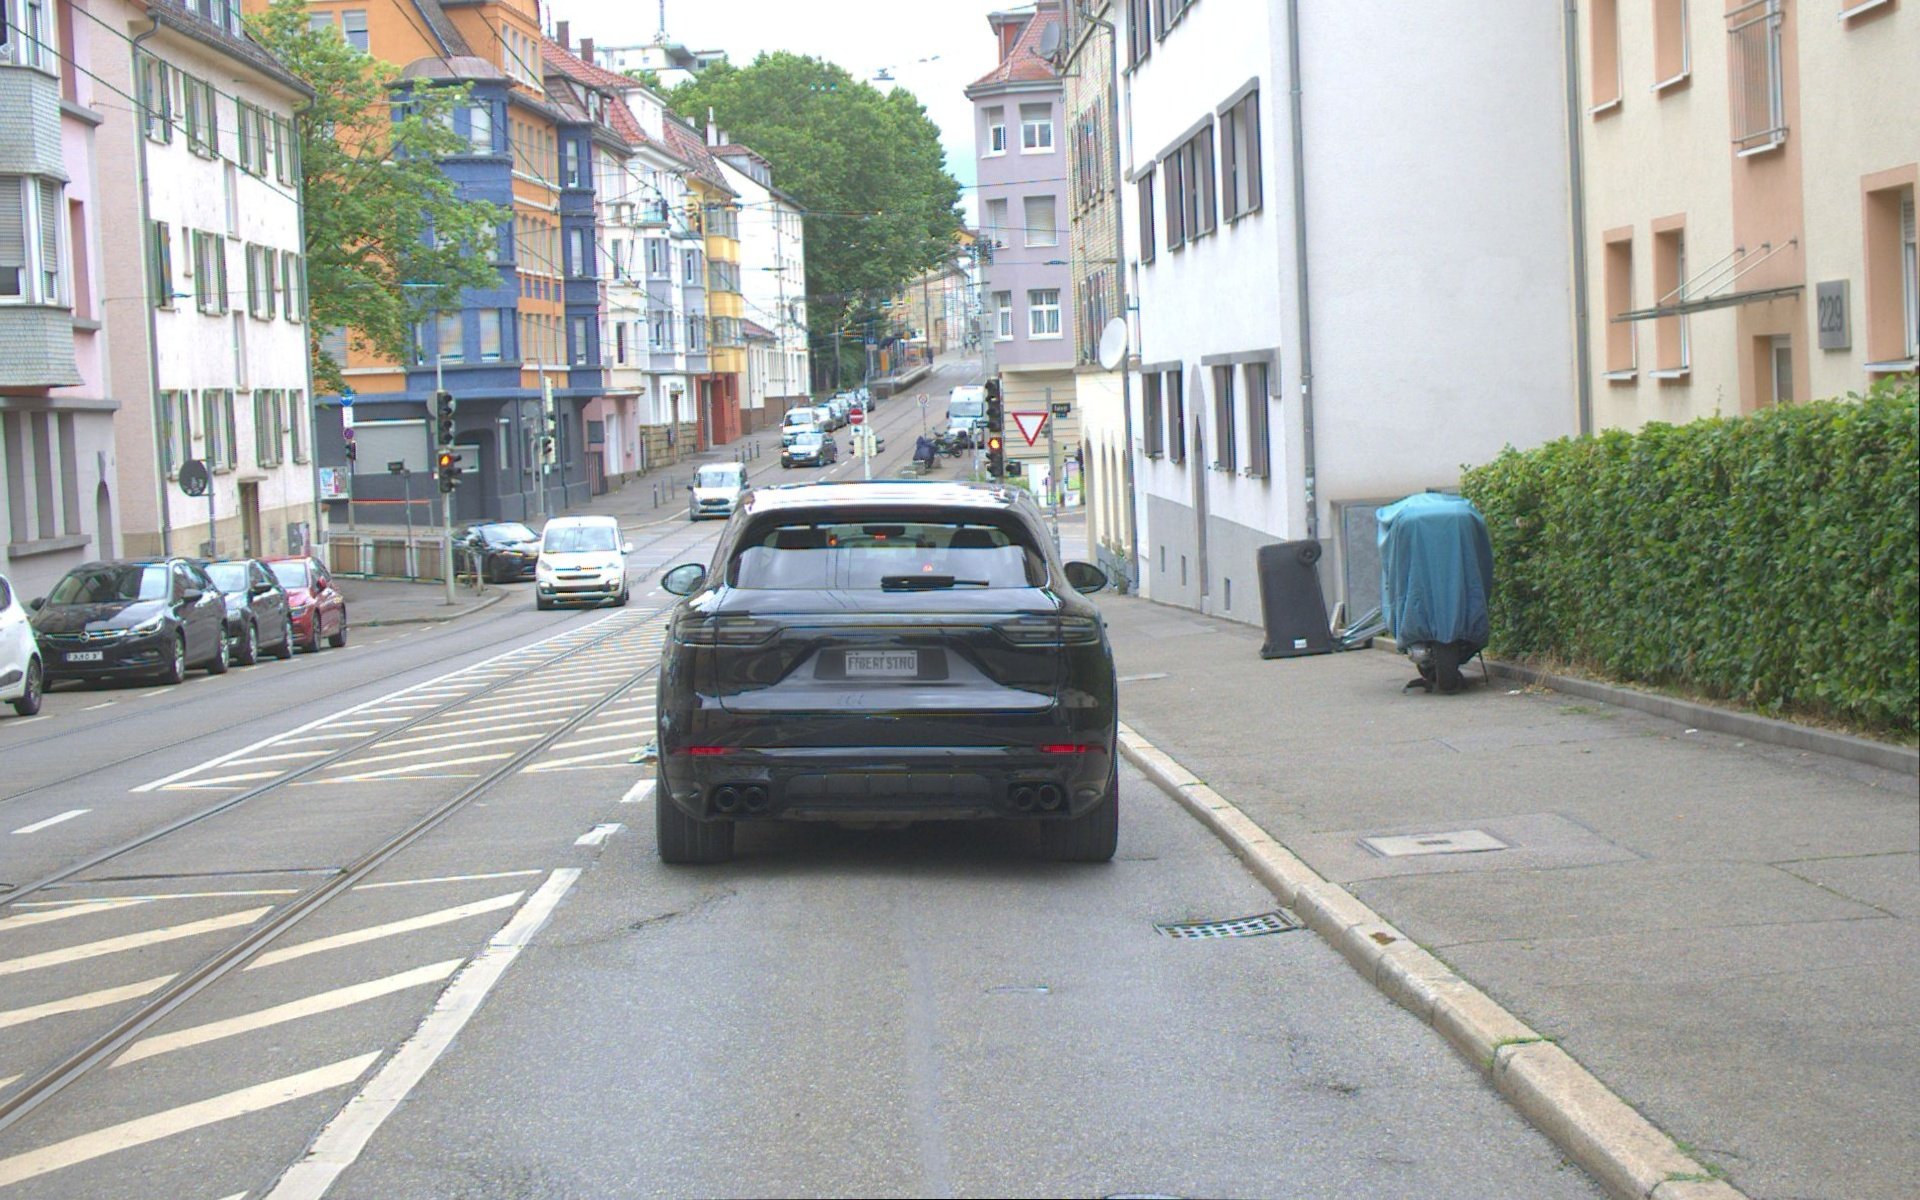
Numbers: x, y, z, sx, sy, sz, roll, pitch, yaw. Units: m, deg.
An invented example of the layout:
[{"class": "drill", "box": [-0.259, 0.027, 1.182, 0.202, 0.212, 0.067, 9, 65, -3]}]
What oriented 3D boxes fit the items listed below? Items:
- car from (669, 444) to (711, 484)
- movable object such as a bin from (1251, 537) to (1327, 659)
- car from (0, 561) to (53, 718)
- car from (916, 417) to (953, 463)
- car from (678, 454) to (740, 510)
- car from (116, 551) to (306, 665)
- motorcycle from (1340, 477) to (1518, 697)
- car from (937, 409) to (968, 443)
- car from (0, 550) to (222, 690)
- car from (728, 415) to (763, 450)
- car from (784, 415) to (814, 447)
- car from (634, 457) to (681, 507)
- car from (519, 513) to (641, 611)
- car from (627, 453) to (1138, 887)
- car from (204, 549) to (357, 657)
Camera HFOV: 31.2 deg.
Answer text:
[{"class": "car", "box": [-10.866, -5.468, 138.400, 1.394, 1.445, 3.359, -2, 1, -1]}, {"class": "movable object such as a bin", "box": [2.991, -0.025, 31.291, 0.588, 1.076, 0.692, -2, 1, 1]}, {"class": "car", "box": [-9.751, 0.406, 32.003, 1.620, 1.458, 3.685, -3, 0, -1]}, {"class": "car", "box": [-1.031, -6.439, 138.852, 1.394, 1.716, 3.359, -2, 1, -1]}, {"class": "car", "box": [-8.499, -3.974, 116.560, 1.751, 1.753, 4.254, -2, 1, -1]}, {"class": "car", "box": [-10.138, 0.071, 46.796, 1.736, 1.405, 4.000, -2, 1, -1]}, {"class": "motorcycle", "box": [3.303, -0.108, 24.457, 0.838, 1.451, 2.553, -2, 1, 0]}, {"class": "car", "box": [-0.378, -8.303, 164.534, 1.394, 1.445, 3.359, -2, 1, -1]}, {"class": "car", "box": [-9.910, 0.208, 40.407, 1.620, 1.468, 4.556, -3, 0, -3]}, {"class": "car", "box": [-9.949, -7.754, 159.560, 1.394, 1.445, 3.359, -2, 1, -1]}, {"class": "car", "box": [-8.250, -8.653, 176.322, 1.394, 1.445, 3.359, -2, 1, -1]}, {"class": "car", "box": [-11.039, -4.292, 125.547, 1.394, 1.716, 3.359, -2, 1, -1]}, {"class": "car", "box": [-7.576, -0.774, 68.922, 1.921, 1.812, 4.218, -2, 1, 0]}, {"class": "car", "box": [-0.368, 0.247, 15.865, 1.993, 1.670, 4.000, -2, 1, -2]}, {"class": "car", "box": [-10.247, 0.027, 52.080, 1.620, 1.485, 4.048, -3, 0, -3]}]
